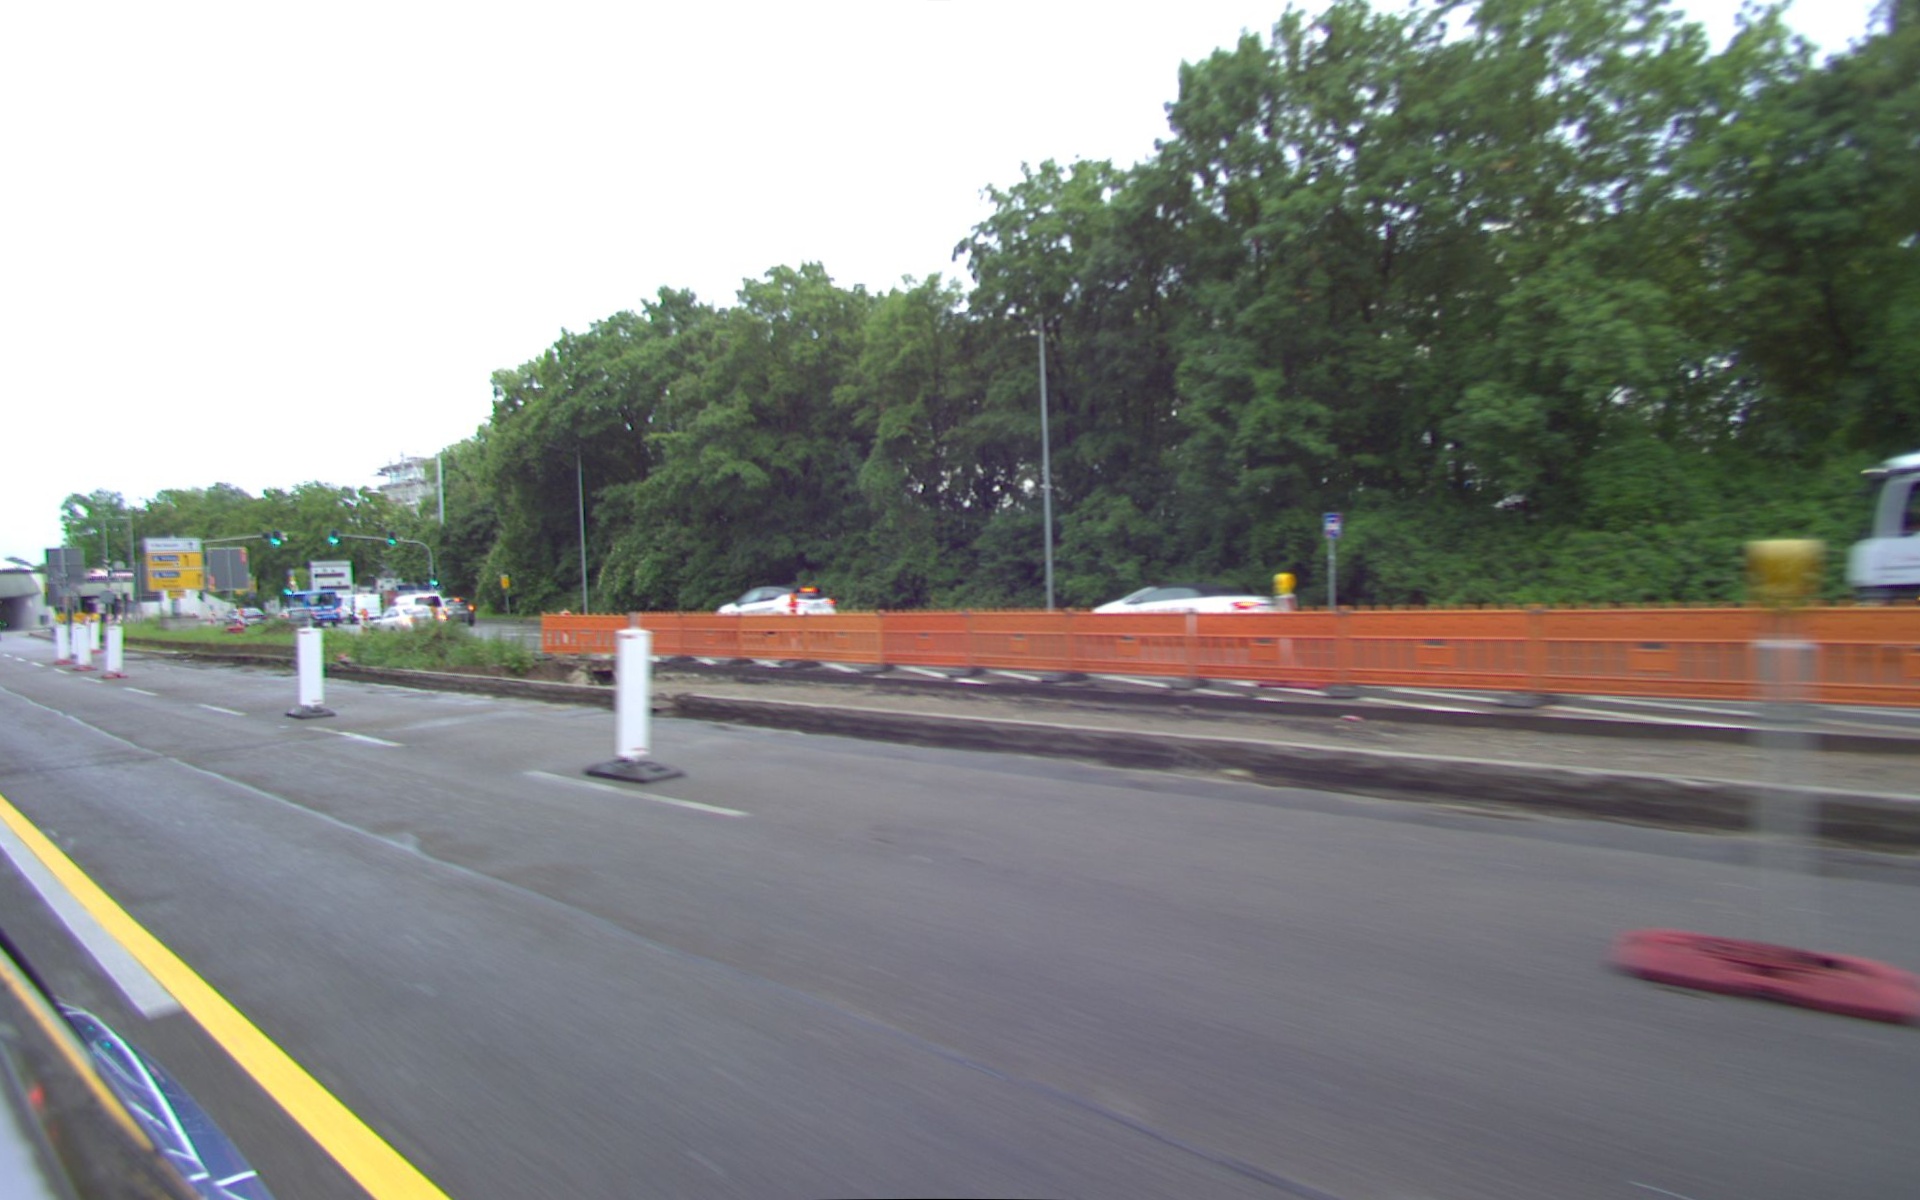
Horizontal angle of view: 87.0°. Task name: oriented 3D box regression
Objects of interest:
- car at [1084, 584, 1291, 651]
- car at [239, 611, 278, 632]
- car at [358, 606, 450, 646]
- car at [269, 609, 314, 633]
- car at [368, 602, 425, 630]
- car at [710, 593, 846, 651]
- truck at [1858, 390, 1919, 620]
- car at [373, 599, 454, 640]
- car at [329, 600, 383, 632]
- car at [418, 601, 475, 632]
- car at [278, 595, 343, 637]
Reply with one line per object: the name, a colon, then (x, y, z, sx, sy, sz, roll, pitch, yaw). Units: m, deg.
car: (5.217, 0.397, 23.582, 4.367, 1.389, 1.791, -2, 0, 42)
car: (-45.191, 1.373, 65.162, 1.530, 1.209, 4.652, -4, 2, -41)
car: (-22.597, 1.056, 41.082, 4.678, 1.497, 1.836, -2, 0, 42)
car: (-36.604, 1.150, 55.379, 1.413, 1.209, 3.302, -4, 2, -44)
car: (-33.639, 0.962, 60.325, 1.773, 1.535, 4.638, -4, 2, -44)
car: (-5.367, 0.641, 29.592, 4.039, 1.562, 1.816, -2, 0, 42)
truck: (17.530, -1.440, 12.053, 10.145, 3.172, 2.766, -1, 1, 42)
car: (-27.100, 0.980, 50.109, 4.831, 1.794, 1.894, -2, 0, 41)
car: (-41.581, 1.124, 69.629, 2.012, 1.989, 4.993, -4, 1, -45)
car: (-28.140, 0.915, 55.426, 1.652, 1.535, 3.792, -4, 2, -44)
car: (-42.000, 1.052, 65.337, 2.170, 2.408, 6.247, -4, 1, -45)
